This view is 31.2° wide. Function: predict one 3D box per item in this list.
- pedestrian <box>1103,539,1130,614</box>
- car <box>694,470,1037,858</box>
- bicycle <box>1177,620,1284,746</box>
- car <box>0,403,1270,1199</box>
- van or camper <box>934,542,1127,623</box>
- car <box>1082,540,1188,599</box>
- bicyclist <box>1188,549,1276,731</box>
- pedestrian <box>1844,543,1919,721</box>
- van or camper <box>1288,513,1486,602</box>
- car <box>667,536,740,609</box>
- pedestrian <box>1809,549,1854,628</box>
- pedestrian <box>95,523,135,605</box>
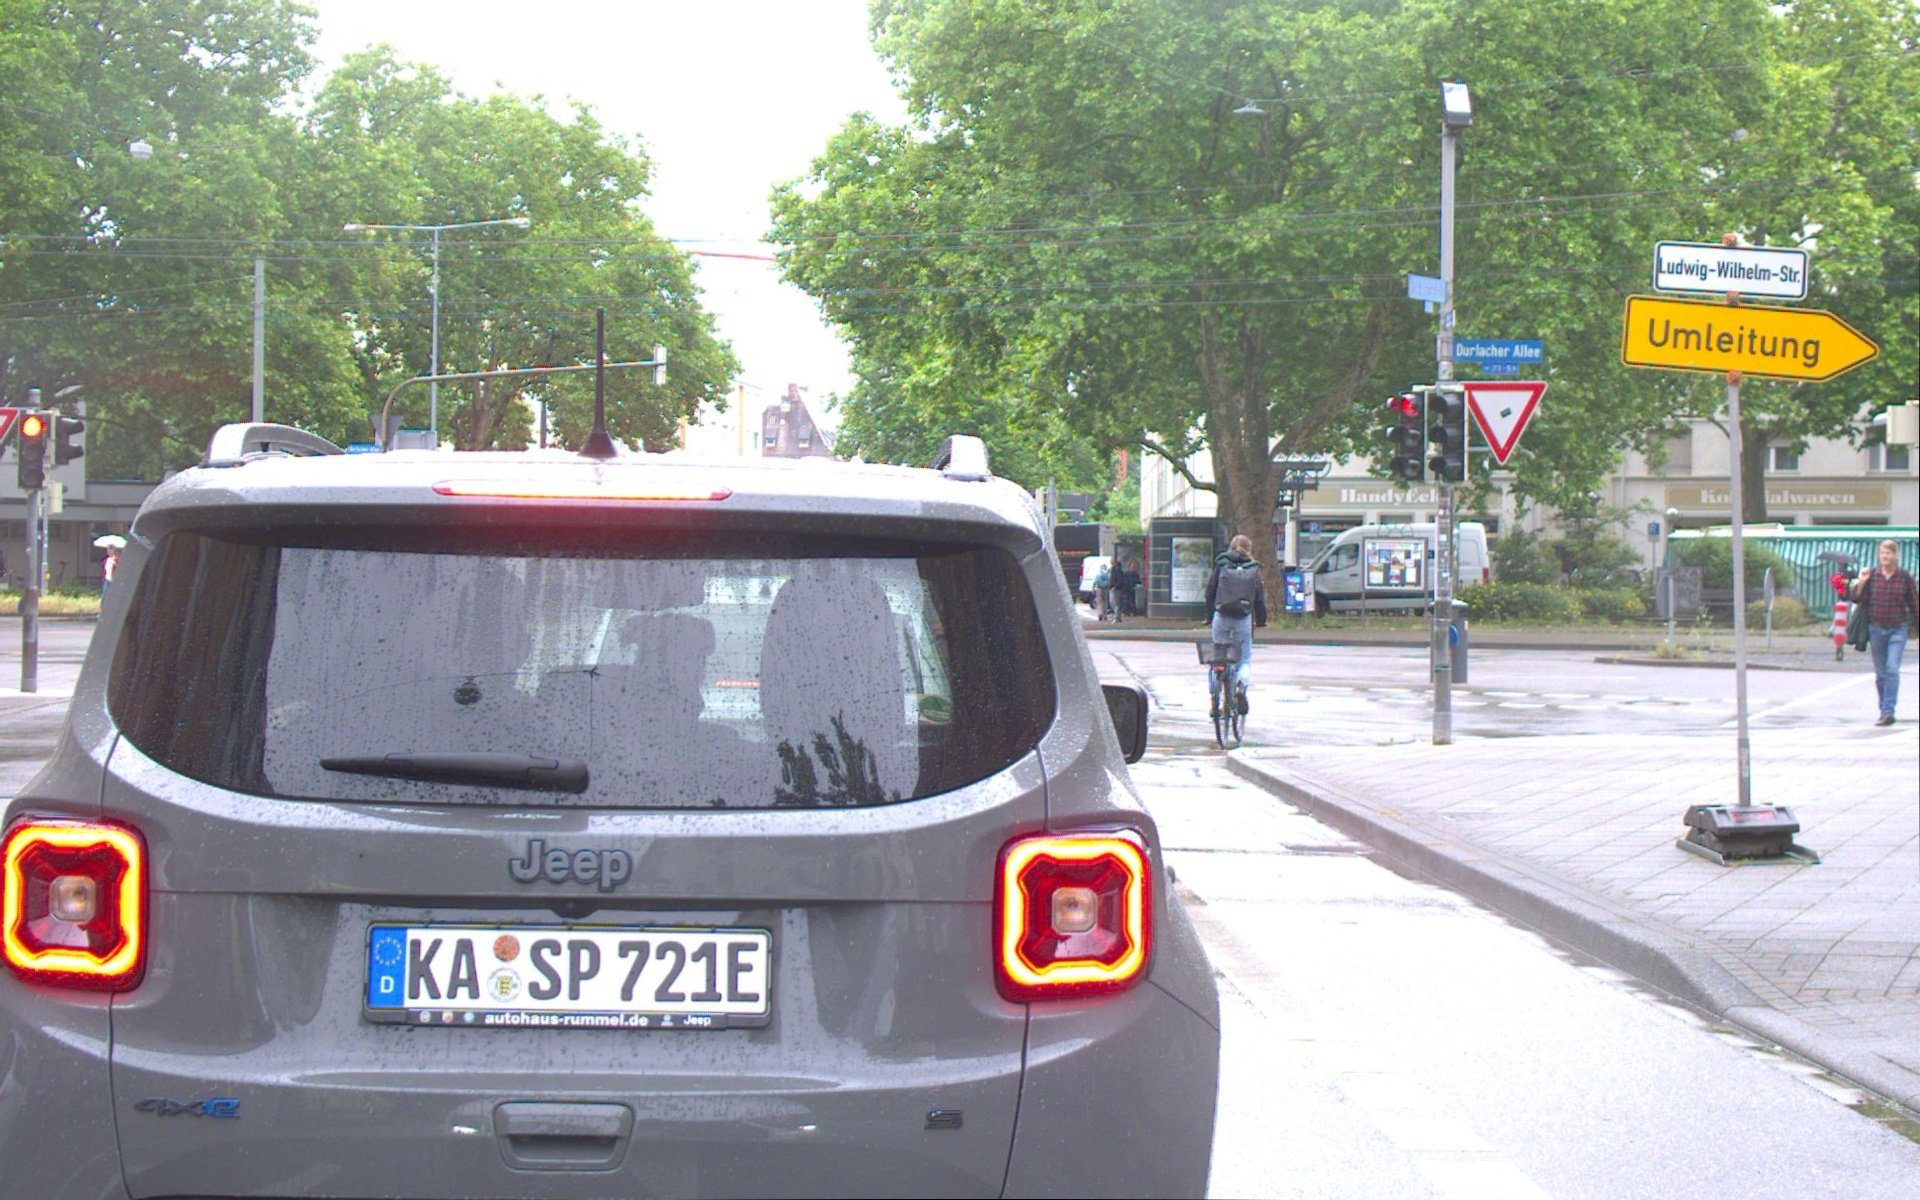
[{"bbox_3d":[4.212,-0.642,92.357,0.651,2.007,0.482,1,1,12],"label":"pedestrian"},{"bbox_3d":[-0.529,0.302,19.843,1.770,2.007,4.000,0,1,-1],"label":"car"},{"bbox_3d":[2.453,0.726,30.921,0.692,1.018,2.657,0,1,10],"label":"bicycle"},{"bbox_3d":[-0.562,0.574,6.166,1.775,1.681,3.848,-1,1,-2],"label":"car"},{"bbox_3d":[2.555,-0.661,124.758,6.535,2.902,2.491,1,1,24],"label":"van or camper"},{"bbox_3d":[6.077,-1.049,119.338,3.438,2.007,1.547,0,0,13],"label":"car"},{"bbox_3d":[2.454,0.348,30.954,0.687,1.612,0.883,0,1,10],"label":"bicyclist"},{"bbox_3d":[9.265,0.305,34.425,0.786,1.753,0.945,0,1,14],"label":"pedestrian"},{"bbox_3d":[11.735,-1.182,94.798,5.260,2.307,2.090,1,1,3],"label":"van or camper"},{"bbox_3d":[-6.310,-0.681,84.409,1.721,1.733,3.730,0,1,-5],"label":"car"},{"bbox_3d":[17.244,-0.227,68.027,0.674,1.548,0.760,1,-1,27],"label":"pedestrian"},{"bbox_3d":[-18.761,-0.803,76.337,0.619,1.820,0.694,0,1,13],"label":"pedestrian"}]
